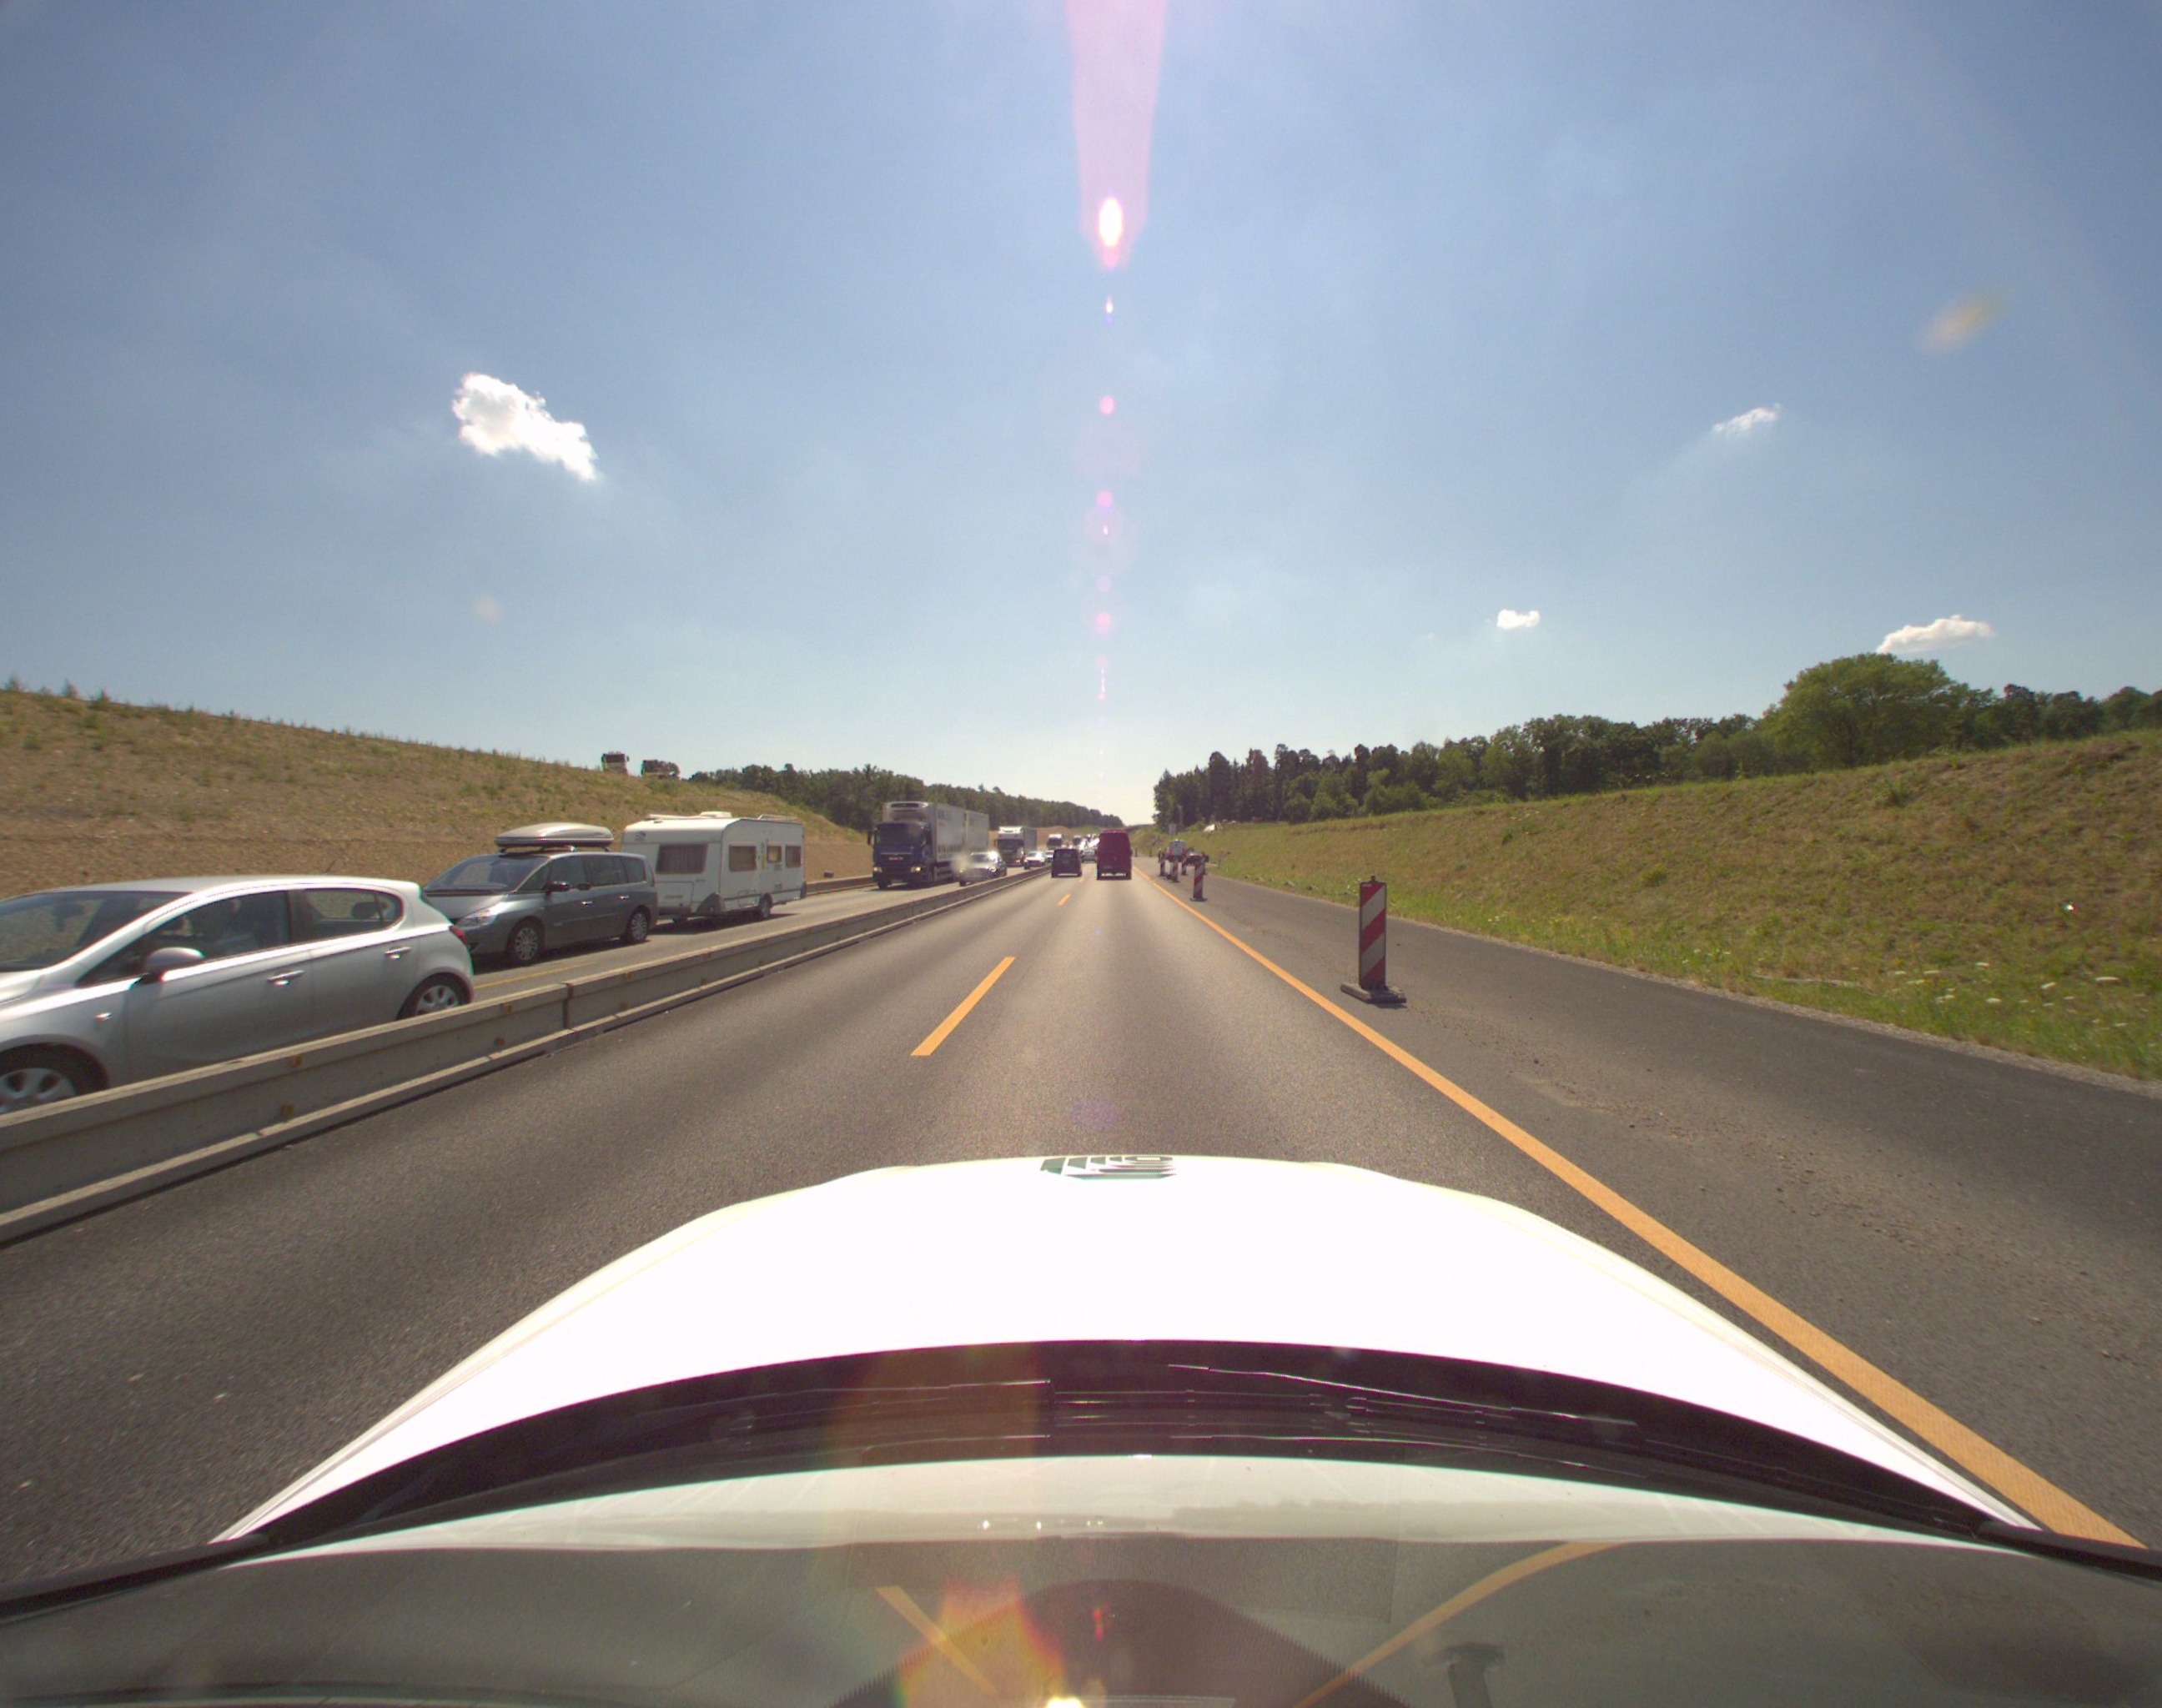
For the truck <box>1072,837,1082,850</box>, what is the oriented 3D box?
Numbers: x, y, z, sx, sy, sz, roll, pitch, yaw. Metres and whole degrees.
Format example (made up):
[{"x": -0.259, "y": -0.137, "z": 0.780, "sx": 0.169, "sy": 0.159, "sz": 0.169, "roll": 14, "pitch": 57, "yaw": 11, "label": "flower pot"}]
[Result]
[{"x": -1.160, "y": -3.162, "z": 245.385, "sx": 2.498, "sy": 3.617, "sz": 9.647, "roll": 0, "pitch": -1, "yaw": 3, "label": "truck"}]

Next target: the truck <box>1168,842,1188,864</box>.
[{"x": 11.525, "y": -0.148, "z": 96.947, "sx": 2.117, "sy": 2.457, "sz": 5.941, "roll": 0, "pitch": 1, "yaw": 9, "label": "truck"}]

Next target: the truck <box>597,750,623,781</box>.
[{"x": -59.619, "y": -11.094, "z": 102.984, "sx": 2.371, "sy": 2.898, "sz": 8.280, "roll": 0, "pitch": -1, "yaw": -34, "label": "truck"}]

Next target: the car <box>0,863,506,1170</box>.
[{"x": -6.122, "y": 0.821, "z": 5.402, "sx": 1.682, "sy": 1.502, "sz": 3.978, "roll": 0, "pitch": -1, "yaw": 2, "label": "car"}]

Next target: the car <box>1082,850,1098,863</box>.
[{"x": 1.082, "y": 0.322, "z": 96.462, "sx": 1.824, "sy": 1.522, "sz": 3.963, "roll": 0, "pitch": -1, "yaw": 2, "label": "car"}]

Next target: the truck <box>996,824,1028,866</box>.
[{"x": -6.871, "y": -0.873, "z": 81.617, "sx": 2.582, "sy": 4.053, "sz": 5.151, "roll": 0, "pitch": 0, "yaw": 1, "label": "truck"}]

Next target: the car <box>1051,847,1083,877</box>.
[{"x": -0.820, "y": 0.467, "z": 51.549, "sx": 1.745, "sy": 1.824, "sz": 4.785, "roll": 0, "pitch": 0, "yaw": 2, "label": "car"}]

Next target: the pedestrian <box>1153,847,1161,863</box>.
[{"x": 8.729, "y": 0.067, "z": 93.375, "sx": 0.726, "sy": 1.828, "sz": 0.714, "roll": 0, "pitch": -1, "yaw": -24, "label": "pedestrian"}]

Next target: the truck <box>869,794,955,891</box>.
[{"x": -7.957, "y": -0.525, "z": 39.031, "sx": 2.481, "sy": 4.198, "sz": 5.915, "roll": -2, "pitch": 0, "yaw": 3, "label": "truck"}]

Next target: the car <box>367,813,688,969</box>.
[{"x": -8.932, "y": 0.536, "z": 13.844, "sx": 1.986, "sy": 2.155, "sz": 4.867, "roll": -1, "pitch": -1, "yaw": 2, "label": "car"}]

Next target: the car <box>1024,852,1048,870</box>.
[{"x": -3.921, "y": 0.621, "z": 71.250, "sx": 1.801, "sy": 1.488, "sz": 4.244, "roll": 0, "pitch": -1, "yaw": 1, "label": "car"}]

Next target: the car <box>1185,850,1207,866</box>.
[{"x": 11.057, "y": 0.353, "z": 78.678, "sx": 1.647, "sy": 1.426, "sz": 4.548, "roll": -3, "pitch": 1, "yaw": 3, "label": "car"}]

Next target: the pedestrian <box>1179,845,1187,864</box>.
[{"x": 9.818, "y": 0.036, "z": 78.377, "sx": 0.642, "sy": 1.828, "sz": 0.555, "roll": 0, "pitch": 0, "yaw": -19, "label": "pedestrian"}]

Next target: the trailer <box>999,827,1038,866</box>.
[{"x": -6.598, "y": -0.768, "z": 88.715, "sx": 2.643, "sy": 3.938, "sz": 14.003, "roll": 0, "pitch": 0, "yaw": 2, "label": "trailer"}]

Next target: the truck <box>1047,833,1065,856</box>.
[{"x": -4.328, "y": -1.647, "z": 143.105, "sx": 2.757, "sy": 4.044, "sz": 4.946, "roll": 0, "pitch": -1, "yaw": 3, "label": "truck"}]

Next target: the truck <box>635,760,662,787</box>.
[{"x": -58.801, "y": -10.852, "z": 110.630, "sx": 2.311, "sy": 2.749, "sz": 8.813, "roll": 0, "pitch": -1, "yaw": -34, "label": "truck"}]

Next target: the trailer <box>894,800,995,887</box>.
[{"x": -7.553, "y": -0.539, "z": 47.854, "sx": 2.492, "sy": 4.179, "sz": 15.543, "roll": -2, "pitch": 0, "yaw": 3, "label": "trailer"}]

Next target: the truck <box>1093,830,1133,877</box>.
[{"x": 1.798, "y": -0.012, "z": 47.117, "sx": 2.145, "sy": 2.590, "sz": 5.334, "roll": 0, "pitch": -1, "yaw": 1, "label": "truck"}]

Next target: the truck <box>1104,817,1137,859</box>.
[{"x": 5.587, "y": -2.050, "z": 116.187, "sx": 4.383, "sy": 5.496, "sz": 16.611, "roll": 0, "pitch": -1, "yaw": 2, "label": "truck"}]

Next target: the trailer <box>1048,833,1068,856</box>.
[{"x": -4.127, "y": -1.700, "z": 150.096, "sx": 2.780, "sy": 4.075, "sz": 13.717, "roll": 0, "pitch": 0, "yaw": 2, "label": "trailer"}]

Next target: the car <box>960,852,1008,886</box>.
[{"x": -4.776, "y": 0.734, "z": 40.711, "sx": 1.682, "sy": 1.613, "sz": 4.595, "roll": 0, "pitch": -1, "yaw": 2, "label": "car"}]

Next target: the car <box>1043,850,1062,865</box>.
[{"x": -3.154, "y": 0.357, "z": 90.721, "sx": 1.769, "sy": 1.555, "sz": 4.140, "roll": -3, "pitch": 0, "yaw": 1, "label": "car"}]

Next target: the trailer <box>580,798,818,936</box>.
[{"x": -8.741, "y": 0.253, "z": 19.690, "sx": 2.303, "sy": 2.686, "sz": 6.758, "roll": -2, "pitch": 0, "yaw": 2, "label": "trailer"}]
